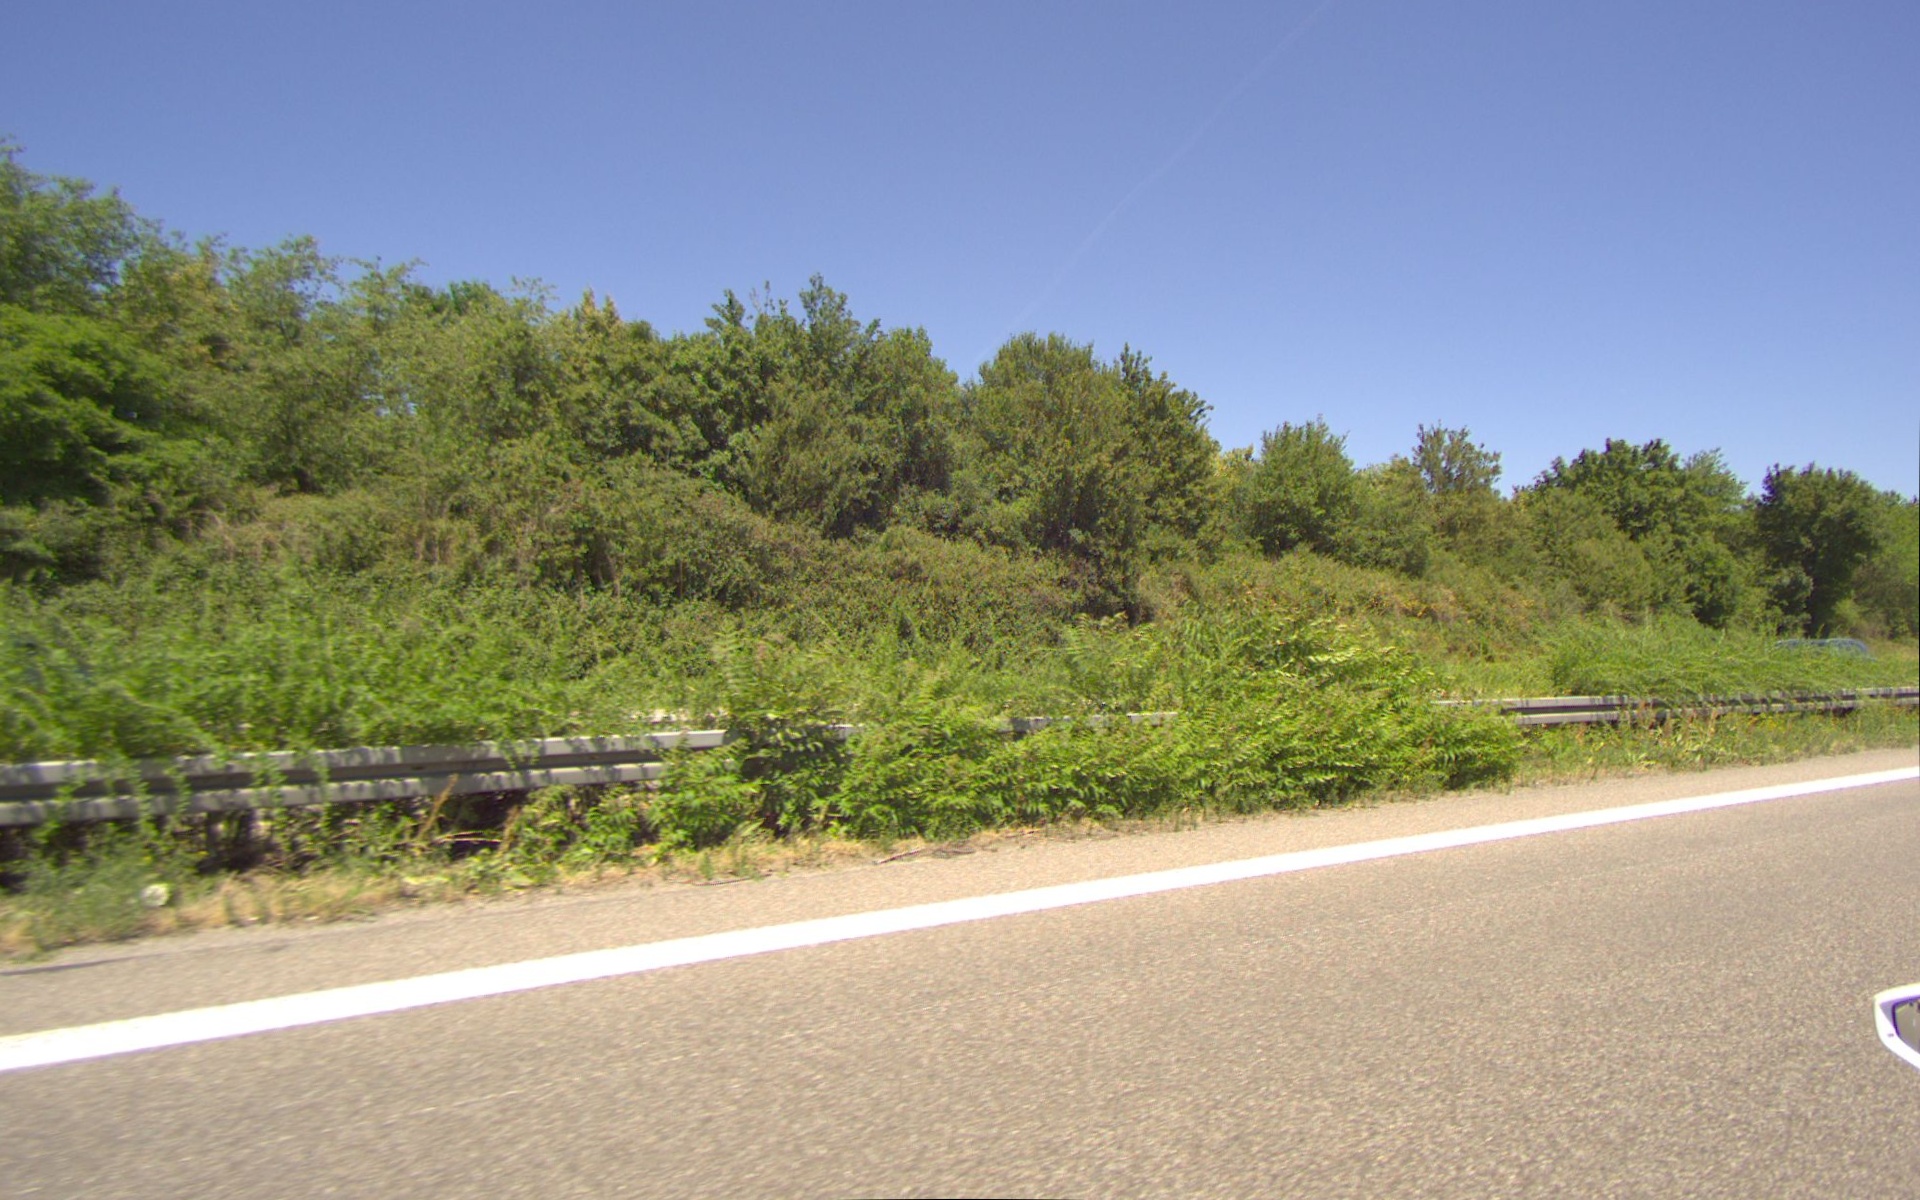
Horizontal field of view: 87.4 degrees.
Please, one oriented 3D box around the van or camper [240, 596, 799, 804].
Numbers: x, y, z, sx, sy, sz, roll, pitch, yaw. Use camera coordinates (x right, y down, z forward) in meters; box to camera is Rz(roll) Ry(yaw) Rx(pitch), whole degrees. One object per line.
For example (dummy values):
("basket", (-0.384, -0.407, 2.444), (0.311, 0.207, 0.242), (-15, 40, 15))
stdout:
("van or camper", (-4.426, 0.934, 10.688), (4.997, 1.773, 1.985), (2, -2, -29))
